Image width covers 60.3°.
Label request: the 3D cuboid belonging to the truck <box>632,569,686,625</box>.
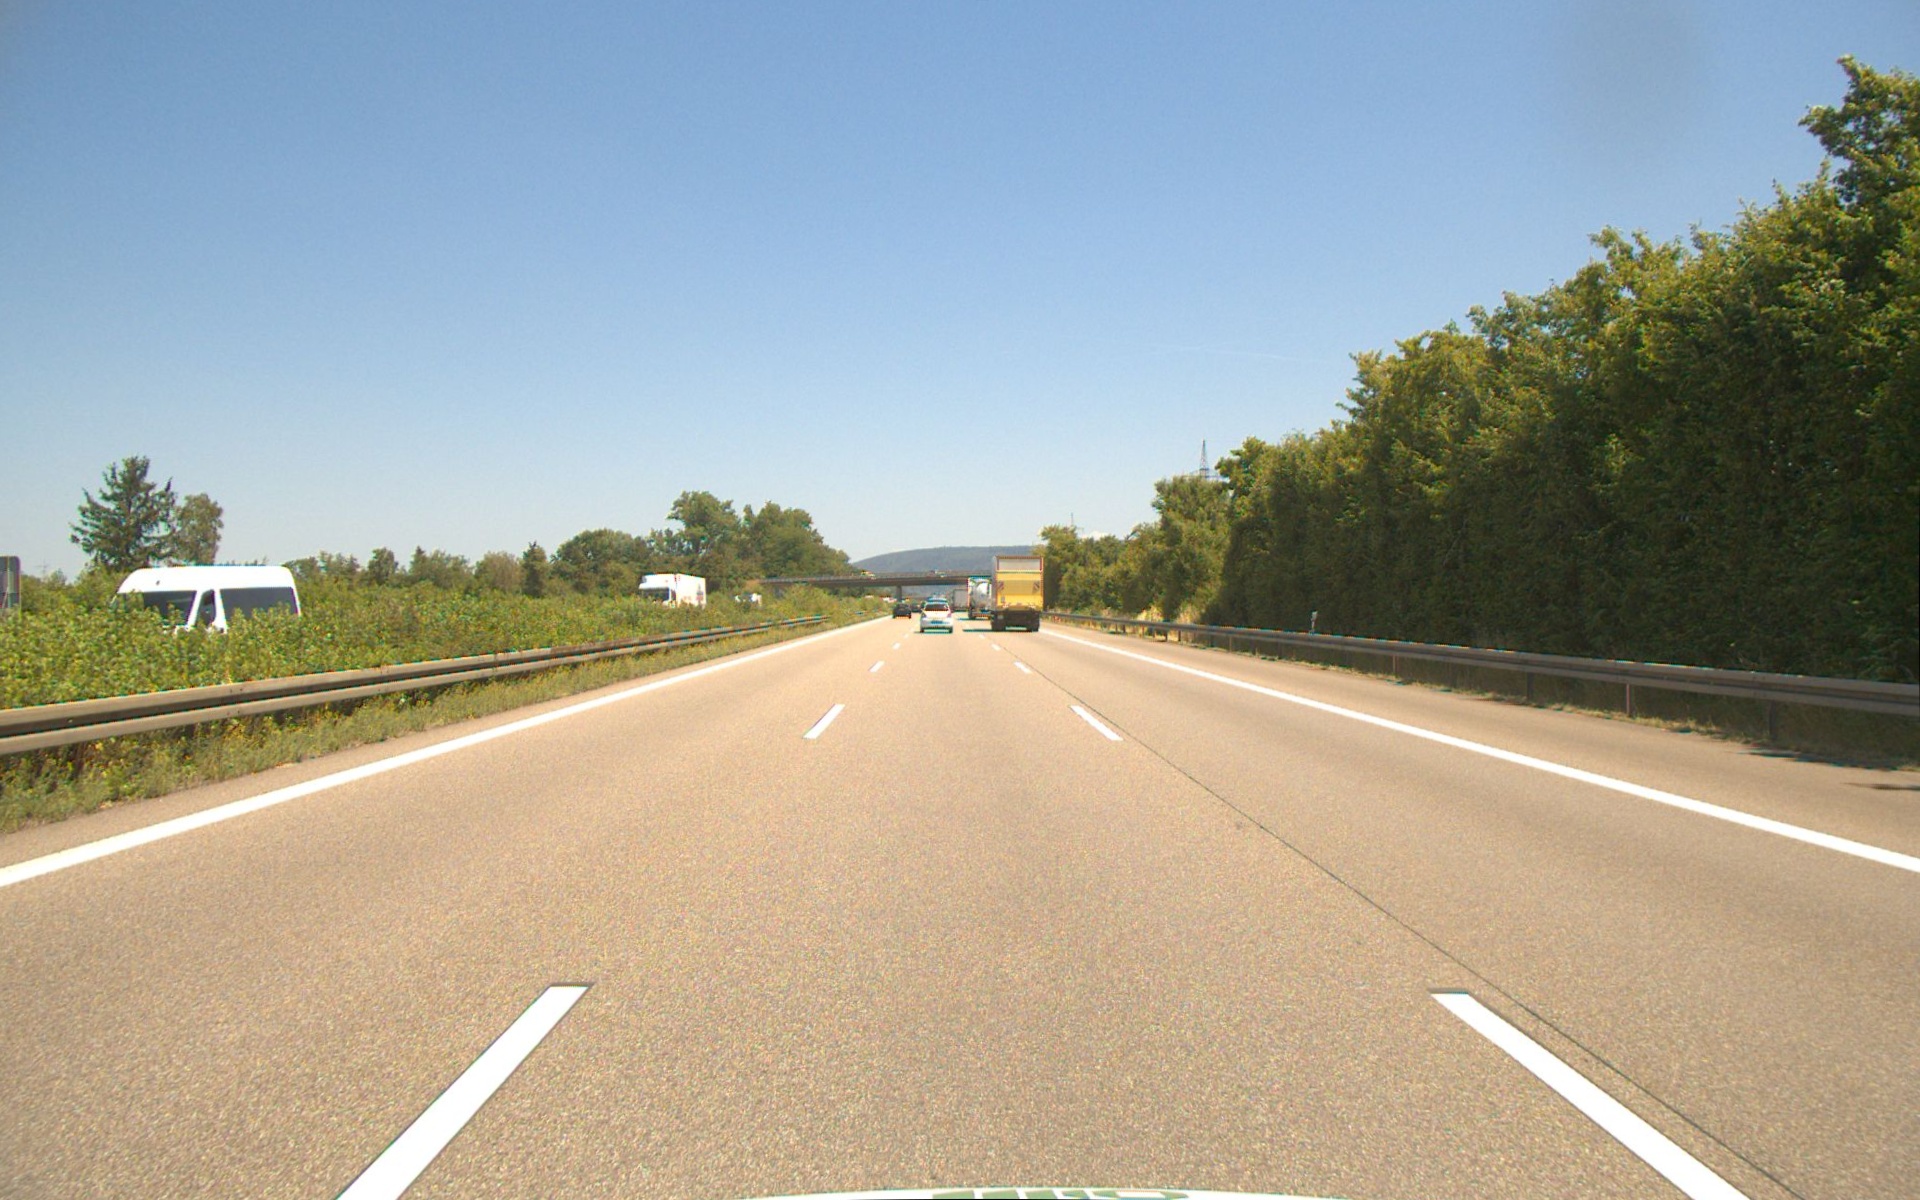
[{"bbox_3d":[-21.675,-0.202,119.470,2.874,3.937,5.750,1,0,-1],"label":"truck"}]

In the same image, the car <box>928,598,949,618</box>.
[{"bbox_3d":[-1.870,0.685,143.464,1.814,1.661,3.999,1,0,-1],"label":"car"}]

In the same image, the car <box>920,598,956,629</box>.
[{"bbox_3d":[-1.127,0.690,84.519,1.770,1.494,3.999,1,0,-1],"label":"car"}]

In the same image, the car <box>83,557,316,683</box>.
[{"bbox_3d":[-16.277,0.404,35.931,2.038,2.436,6.731,1,0,-1],"label":"car"}]

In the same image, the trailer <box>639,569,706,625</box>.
[{"bbox_3d":[-21.797,-0.184,126.100,2.874,3.937,13.906,1,0,-1],"label":"trailer"}]

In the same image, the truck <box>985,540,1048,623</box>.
[{"bbox_3d":[3.065,-0.959,92.273,2.874,4.273,10.679,1,0,-1],"label":"truck"}]

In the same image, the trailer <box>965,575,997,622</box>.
[{"bbox_3d":[1.885,-0.158,152.973,2.528,4.146,11.100,1,0,-1],"label":"trailer"}]

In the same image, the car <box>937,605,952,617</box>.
[{"bbox_3d":[-1.835,1.263,197.257,1.798,1.411,3.999,1,0,-1],"label":"car"}]

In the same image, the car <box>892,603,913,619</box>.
[{"bbox_3d":[-5.489,1.036,158.152,1.798,1.411,3.999,1,0,-1],"label":"car"}]

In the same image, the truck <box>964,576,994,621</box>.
[{"bbox_3d":[1.795,-0.150,157.560,2.521,4.143,6.391,1,0,-1],"label":"truck"}]

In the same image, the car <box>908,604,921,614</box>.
[{"bbox_3d":[-6.280,1.221,229.348,1.798,1.411,3.999,1,0,-1],"label":"car"}]
